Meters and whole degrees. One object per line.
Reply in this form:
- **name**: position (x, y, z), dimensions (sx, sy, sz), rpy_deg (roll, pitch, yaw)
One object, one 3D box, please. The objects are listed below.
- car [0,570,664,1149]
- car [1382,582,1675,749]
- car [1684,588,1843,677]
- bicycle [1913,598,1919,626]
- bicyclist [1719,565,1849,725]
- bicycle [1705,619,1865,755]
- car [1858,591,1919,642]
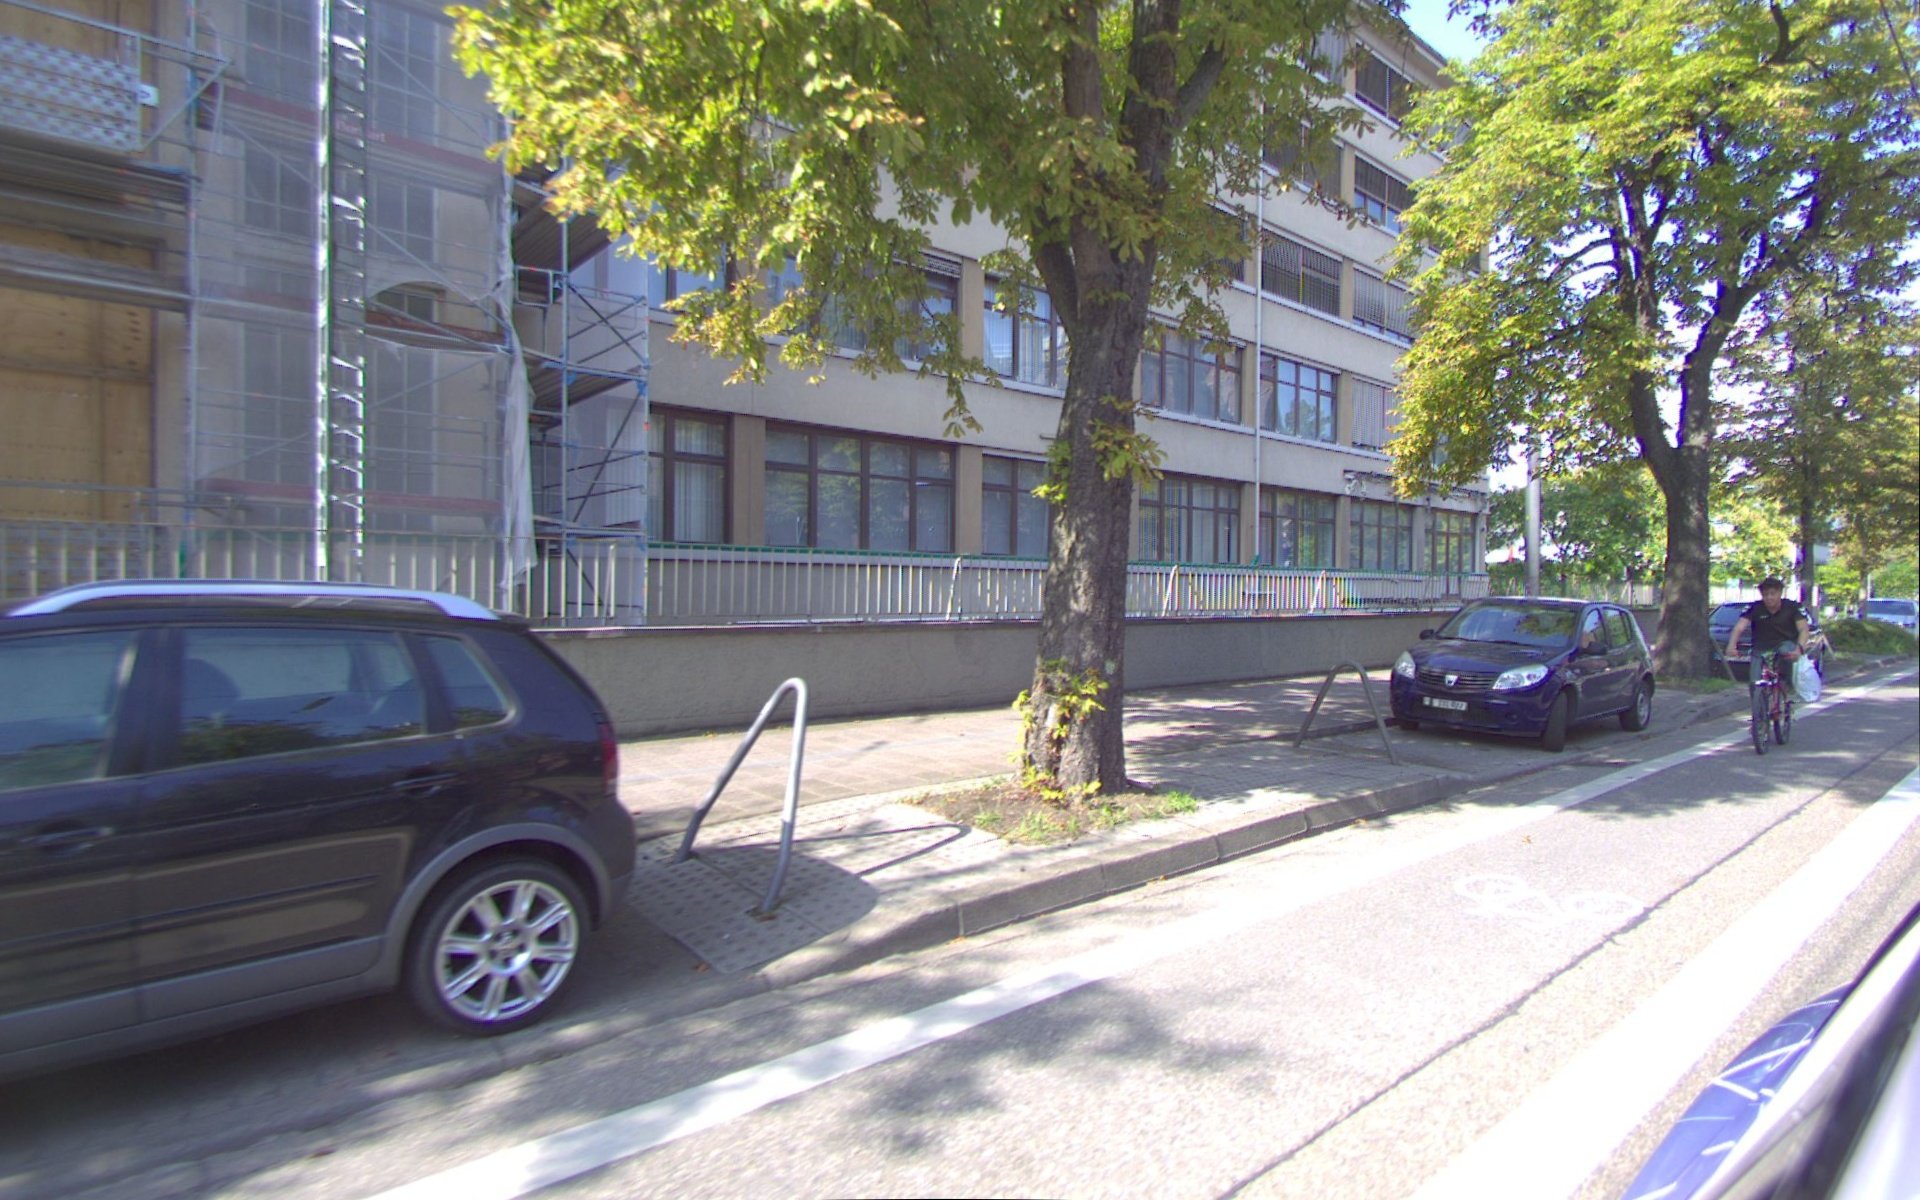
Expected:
- **car**: position (-3.013, 0.670, 3.230), dimensions (3.672, 1.503, 1.579), rpy_deg (0, 0, -40)
- **car**: position (6.467, 0.593, 11.372), dimensions (3.711, 1.529, 1.650), rpy_deg (0, 3, -40)
- **car**: position (15.187, 0.529, 19.061), dimensions (4.014, 1.446, 1.649), rpy_deg (-1, 3, -42)
- **bicycle**: position (38.235, 0.502, 39.257), dimensions (0.782, 1.077, 1.772), rpy_deg (0, 3, -42)
- **bicyclist**: position (8.191, 0.411, 10.057), dimensions (1.096, 1.488, 0.789), rpy_deg (0, 1, -39)
- **bicycle**: position (8.294, 0.803, 10.136), dimensions (2.263, 1.159, 0.789), rpy_deg (0, 1, -39)
- **car**: position (28.975, 0.462, 31.089), dimensions (3.921, 1.447, 1.642), rpy_deg (-1, 2, -42)
